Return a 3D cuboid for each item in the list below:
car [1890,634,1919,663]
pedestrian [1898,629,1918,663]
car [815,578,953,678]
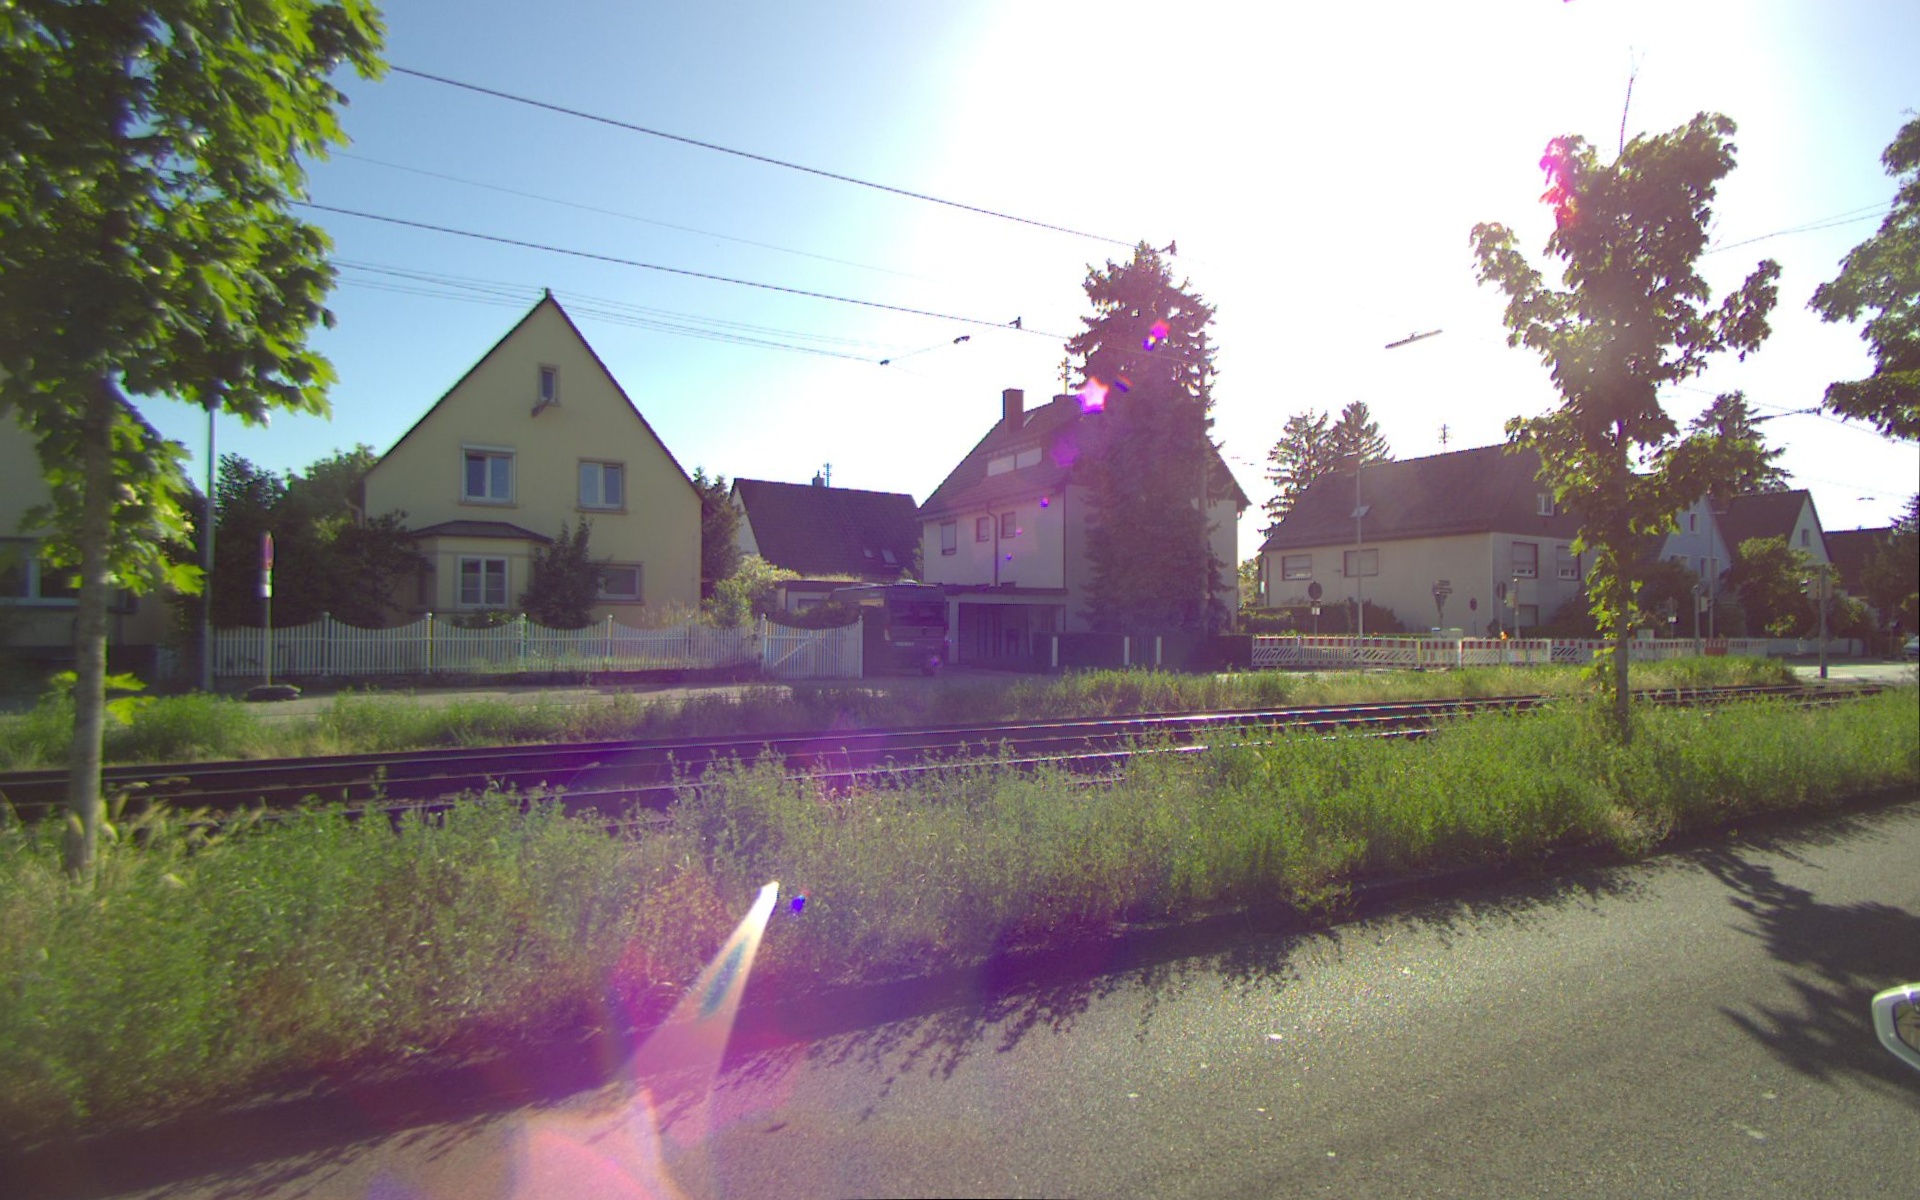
[{"bbox_3d":[53.752,2.695,55.907,4.179,1.562,1.851,1,-1,-31],"label":"car"},{"bbox_3d":[57.704,2.805,61.153,0.763,2.040,0.677,1,0,-30],"label":"pedestrian"},{"bbox_3d":[-2.322,0.797,29.242,2.077,2.660,5.006,0,-1,-29],"label":"car"}]
